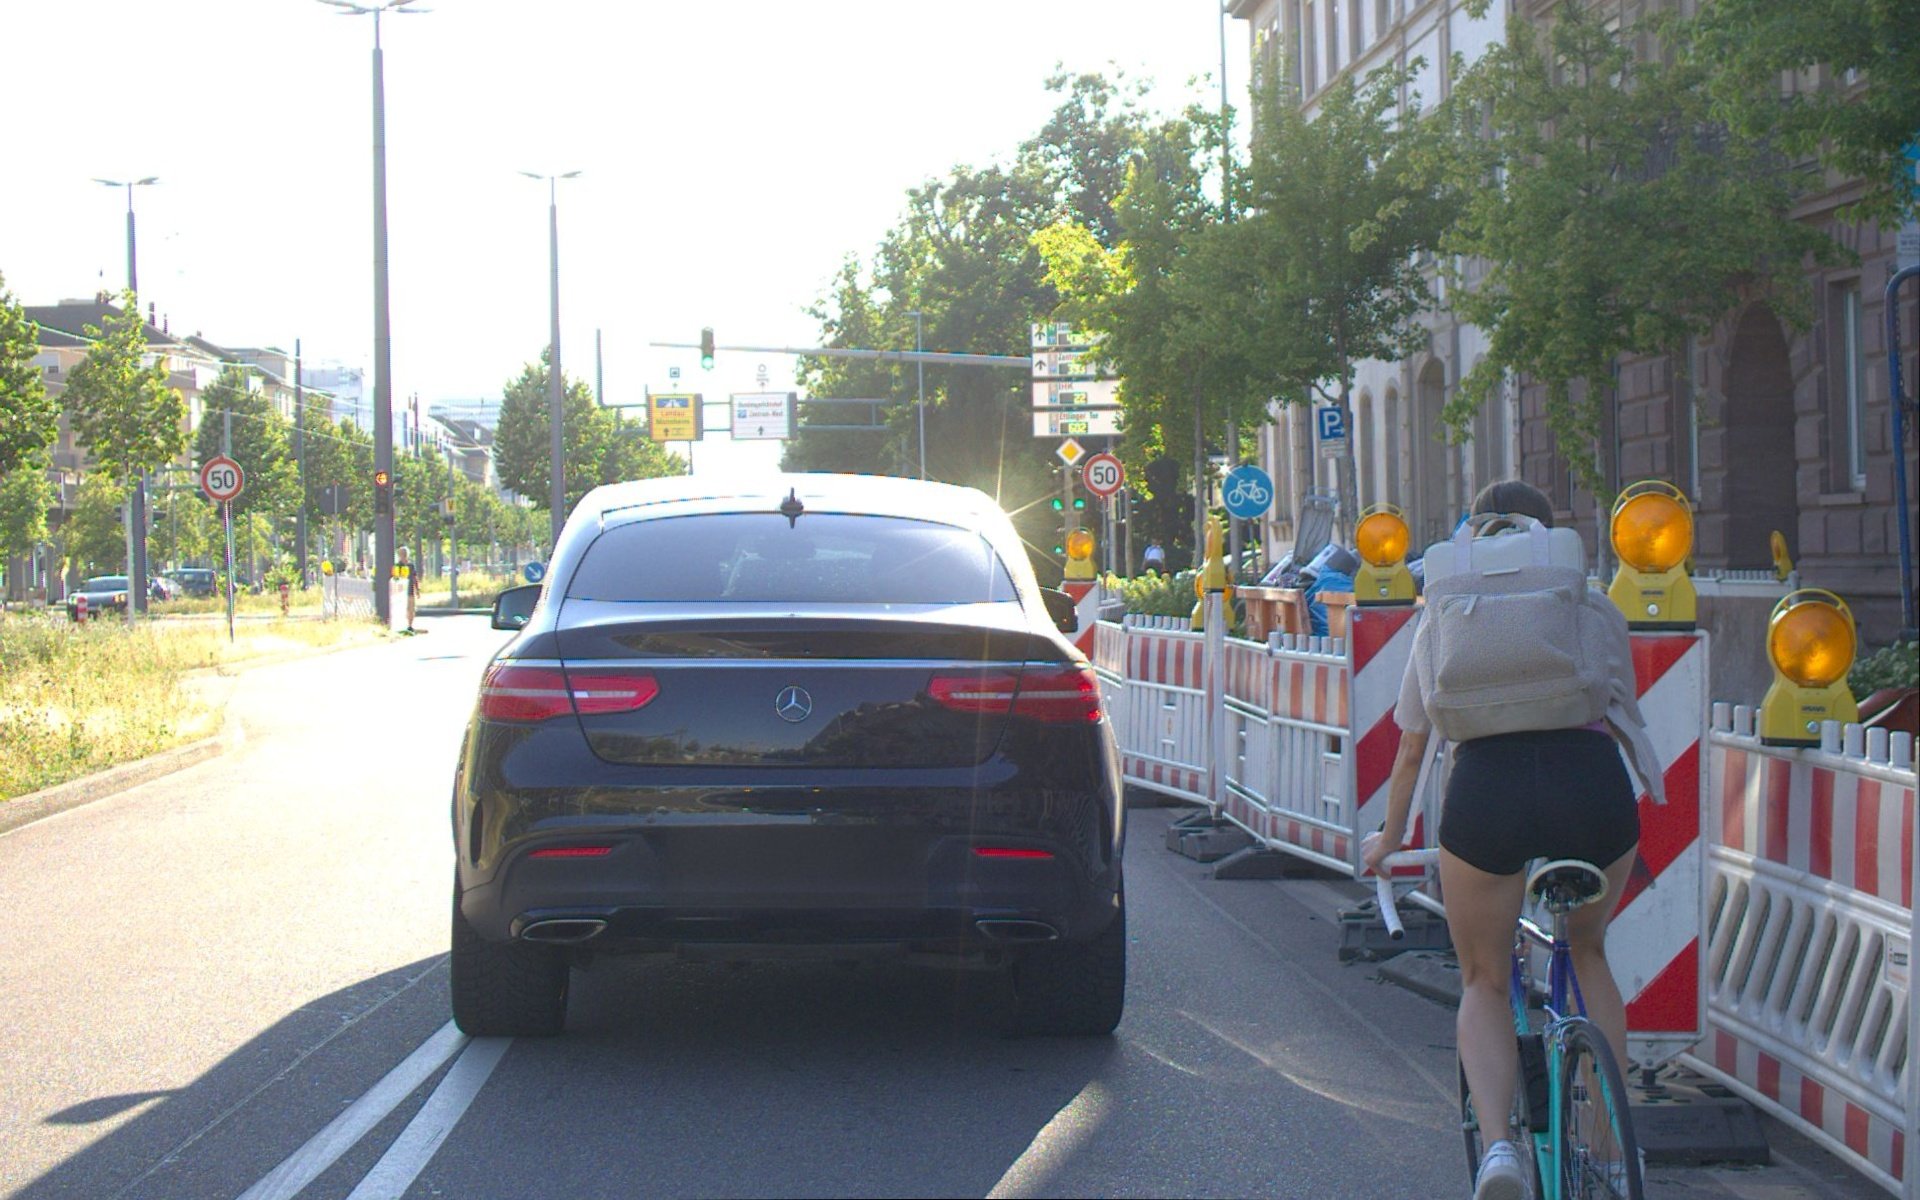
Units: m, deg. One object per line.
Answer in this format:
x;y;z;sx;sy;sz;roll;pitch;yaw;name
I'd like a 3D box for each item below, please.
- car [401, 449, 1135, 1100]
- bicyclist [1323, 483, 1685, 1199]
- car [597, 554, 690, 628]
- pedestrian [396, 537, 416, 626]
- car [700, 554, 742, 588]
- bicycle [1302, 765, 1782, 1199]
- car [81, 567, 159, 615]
-0.530;0.450;11.371;1.993;1.766;4.000;0;1;0;car
0.969;0.492;6.229;0.523;1.391;0.615;0;1;-3;bicyclist
-6.490;-0.206;70.721;1.708;1.437;3.583;-1;1;-2;car
-10.988;-0.362;68.216;0.334;1.757;0.418;0;1;-2;pedestrian
-10.196;-1.261;146.862;1.708;1.437;3.583;0;1;-2;car
1.020;0.885;6.382;0.512;1.048;1.725;0;1;-3;bicycle
-26.406;-0.295;108.199;1.708;1.437;3.583;0;1;-2;car
